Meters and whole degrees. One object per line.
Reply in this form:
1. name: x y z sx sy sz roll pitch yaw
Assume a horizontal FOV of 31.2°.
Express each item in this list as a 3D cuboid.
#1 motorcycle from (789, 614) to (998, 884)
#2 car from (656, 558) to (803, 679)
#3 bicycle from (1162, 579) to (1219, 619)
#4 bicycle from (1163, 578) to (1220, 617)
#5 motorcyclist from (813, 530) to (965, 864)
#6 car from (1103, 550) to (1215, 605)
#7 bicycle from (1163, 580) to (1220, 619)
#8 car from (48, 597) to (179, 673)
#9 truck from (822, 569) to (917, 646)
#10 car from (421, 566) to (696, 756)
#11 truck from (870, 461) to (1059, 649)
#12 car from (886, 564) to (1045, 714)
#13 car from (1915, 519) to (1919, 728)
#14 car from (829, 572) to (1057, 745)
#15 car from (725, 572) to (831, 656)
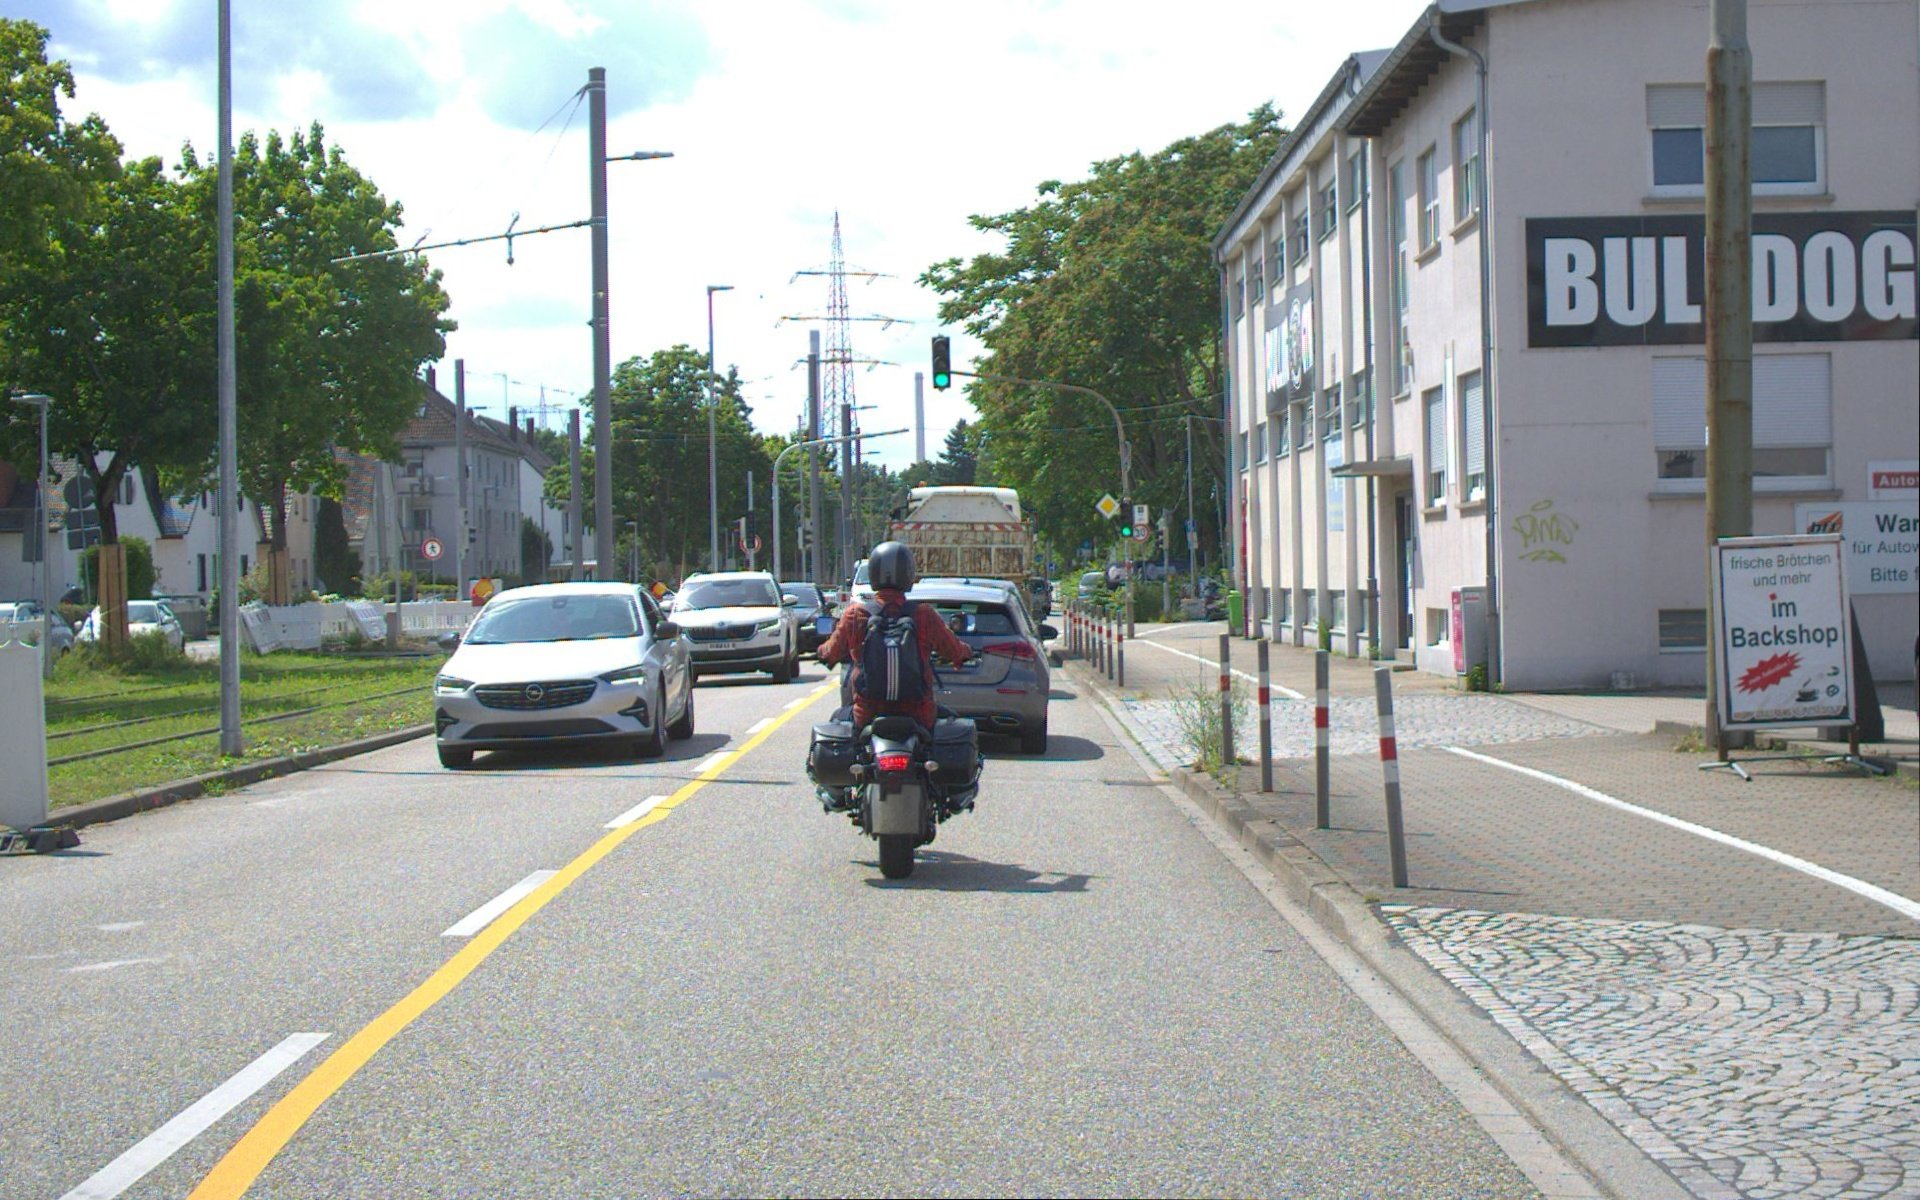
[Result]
1. motorcycle: -0.297 0.696 17.138 0.942 1.196 2.472 1 1 1
2. car: -3.382 0.263 51.124 1.824 1.660 4.462 -2 0 0
3. bicycle: 6.994 -0.033 104.349 1.708 1.168 0.438 1 0 6
4. bicycle: 7.096 -0.067 105.380 1.708 1.168 0.438 1 0 6
5. motorcyclist: -0.342 0.467 16.901 0.698 1.599 0.692 1 0 1
6. car: 7.213 -0.816 124.256 3.989 1.919 1.802 1 0 -44
7. bicycle: 7.064 -0.010 104.869 1.708 1.168 0.438 1 0 6
8. car: -15.913 0.646 64.772 1.521 1.349 3.621 1 0 0
9. truck: -2.343 0.172 90.504 1.820 1.903 5.115 1 1 6
10. car: -3.336 0.484 29.308 1.821 1.440 4.484 -2 0 -1
11. truck: 0.184 -0.756 62.389 2.968 3.162 7.763 1 0 3
12. car: 0.126 0.446 43.996 1.901 1.706 4.719 -1 2 1
13. car: 8.365 0.197 24.502 1.945 1.619 4.615 0 0 2
14. car: -0.216 0.469 30.575 1.731 1.399 4.087 1 0 -4
15. car: -3.374 0.261 64.339 1.692 1.408 3.859 -4 0 0
